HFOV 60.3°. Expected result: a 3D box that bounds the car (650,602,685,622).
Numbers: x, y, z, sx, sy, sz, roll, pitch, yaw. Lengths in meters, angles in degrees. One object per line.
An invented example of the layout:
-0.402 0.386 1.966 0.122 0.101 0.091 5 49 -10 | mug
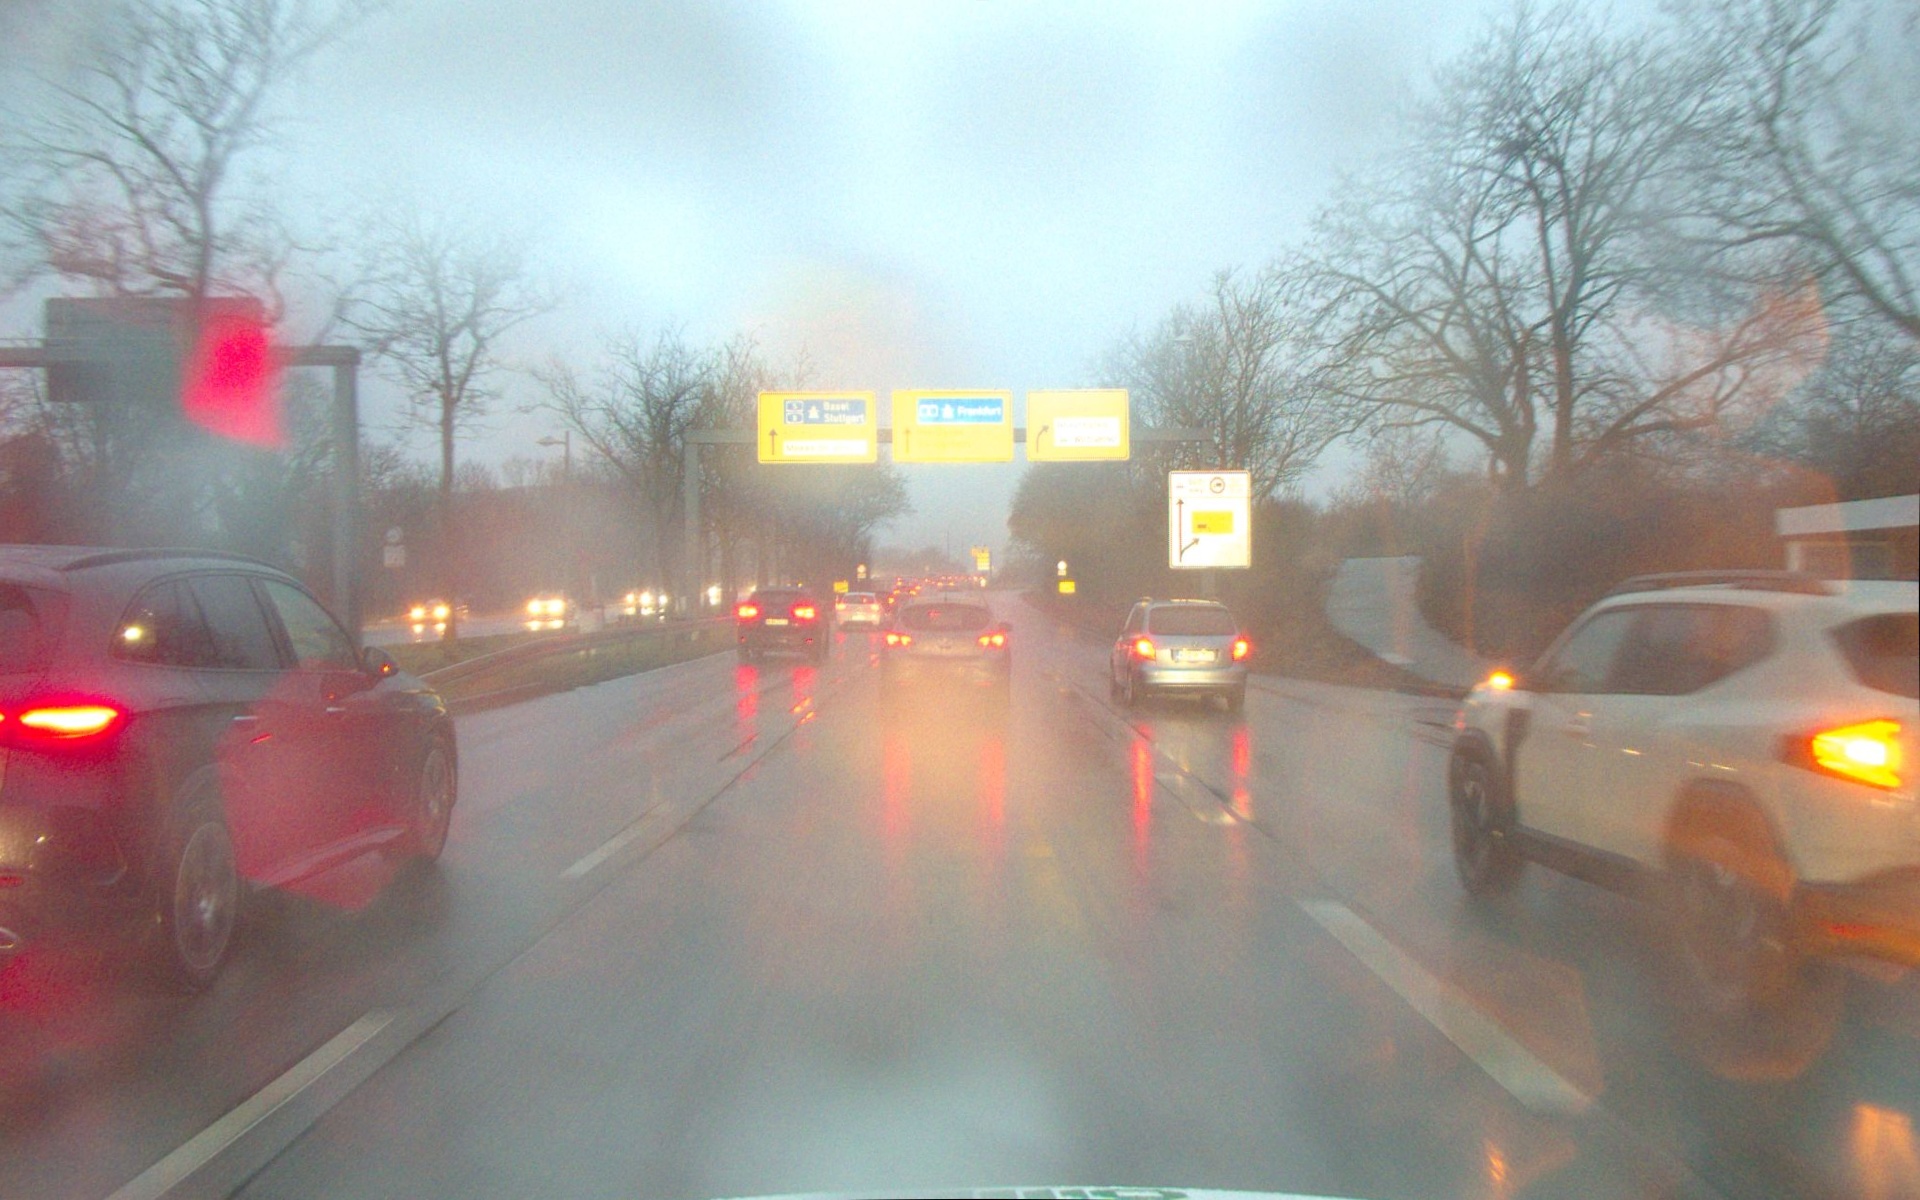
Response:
-20.114 0.837 113.856 1.716 1.331 4.315 0 0 -1 | car

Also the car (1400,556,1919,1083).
3.563 0.686 7.437 1.779 1.646 4.408 0 0 -3 | car

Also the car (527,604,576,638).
-21.104 1.070 85.580 1.749 1.655 3.573 0 0 -2 | car

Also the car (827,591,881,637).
-4.059 0.524 63.768 1.785 1.677 4.000 0 0 0 | car

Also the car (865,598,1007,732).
-0.293 0.848 23.260 1.785 1.677 4.466 1 -1 0 | car

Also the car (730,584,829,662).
-4.062 0.506 37.753 1.785 1.677 4.000 0 0 0 | car

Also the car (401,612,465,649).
-28.316 1.594 89.053 1.952 1.883 4.427 0 0 1 | car

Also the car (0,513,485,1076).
-3.546 0.592 7.146 1.785 1.677 4.465 0 0 -1 | car

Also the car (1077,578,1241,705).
2.849 0.590 24.597 1.893 1.677 4.466 1 -1 0 | car
